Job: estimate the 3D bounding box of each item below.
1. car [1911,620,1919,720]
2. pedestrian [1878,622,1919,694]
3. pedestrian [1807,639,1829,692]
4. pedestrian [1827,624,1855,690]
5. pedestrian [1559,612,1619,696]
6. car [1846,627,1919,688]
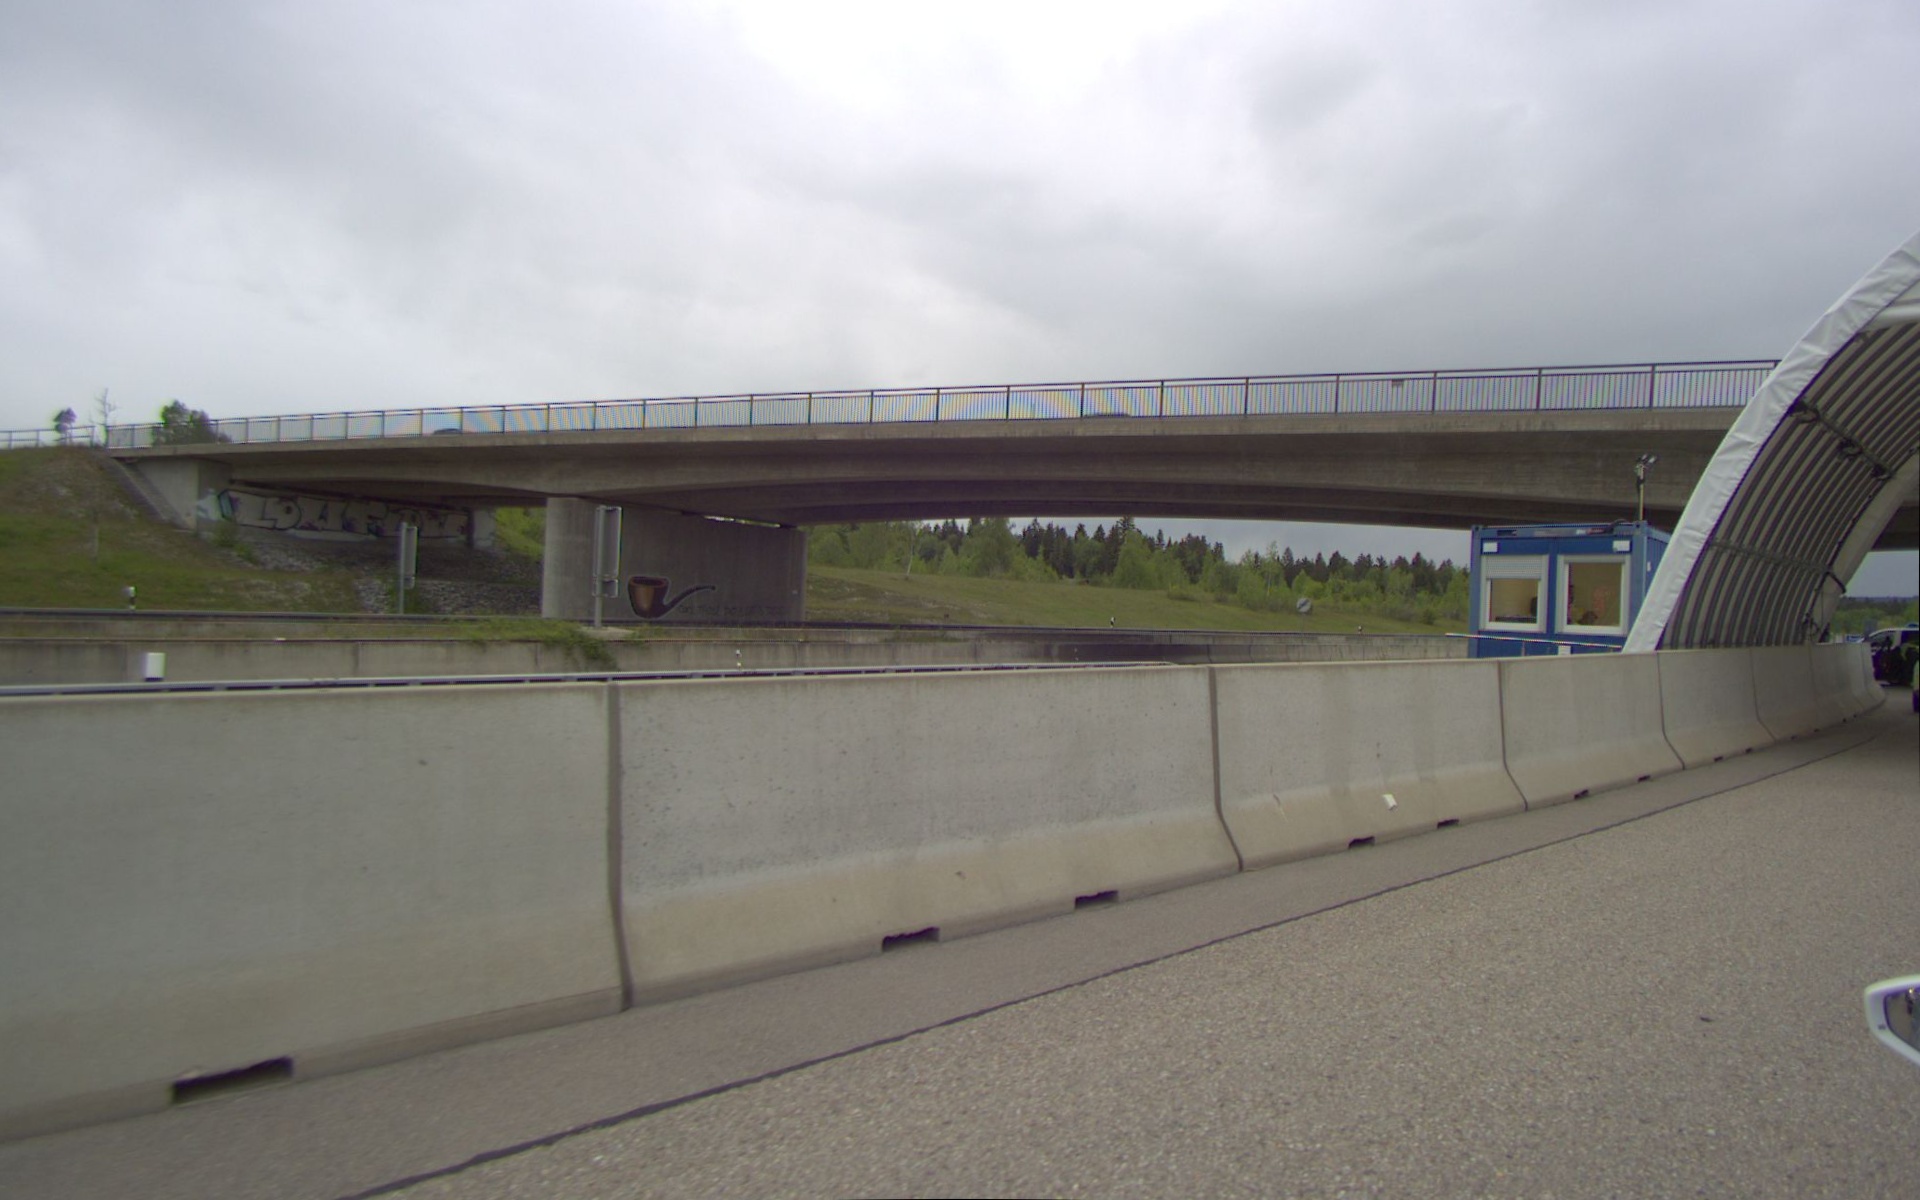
[{"bbox_3d":[17.993,1.231,17.534,3.973,1.668,1.859,3,-2,-44],"label":"car"},{"bbox_3d":[27.276,1.685,29.187,0.684,2.040,0.697,2,-1,-30],"label":"pedestrian"},{"bbox_3d":[25.567,1.938,29.931,0.496,1.567,0.461,0,-1,41],"label":"pedestrian"},{"bbox_3d":[27.437,1.767,31.272,0.618,2.040,0.652,0,-1,45],"label":"pedestrian"},{"bbox_3d":[10.640,0.905,17.003,0.618,1.391,0.609,2,-1,-21],"label":"pedestrian"},{"bbox_3d":[33.846,2.013,34.518,1.814,2.040,4.798,2,-1,-21],"label":"car"}]
